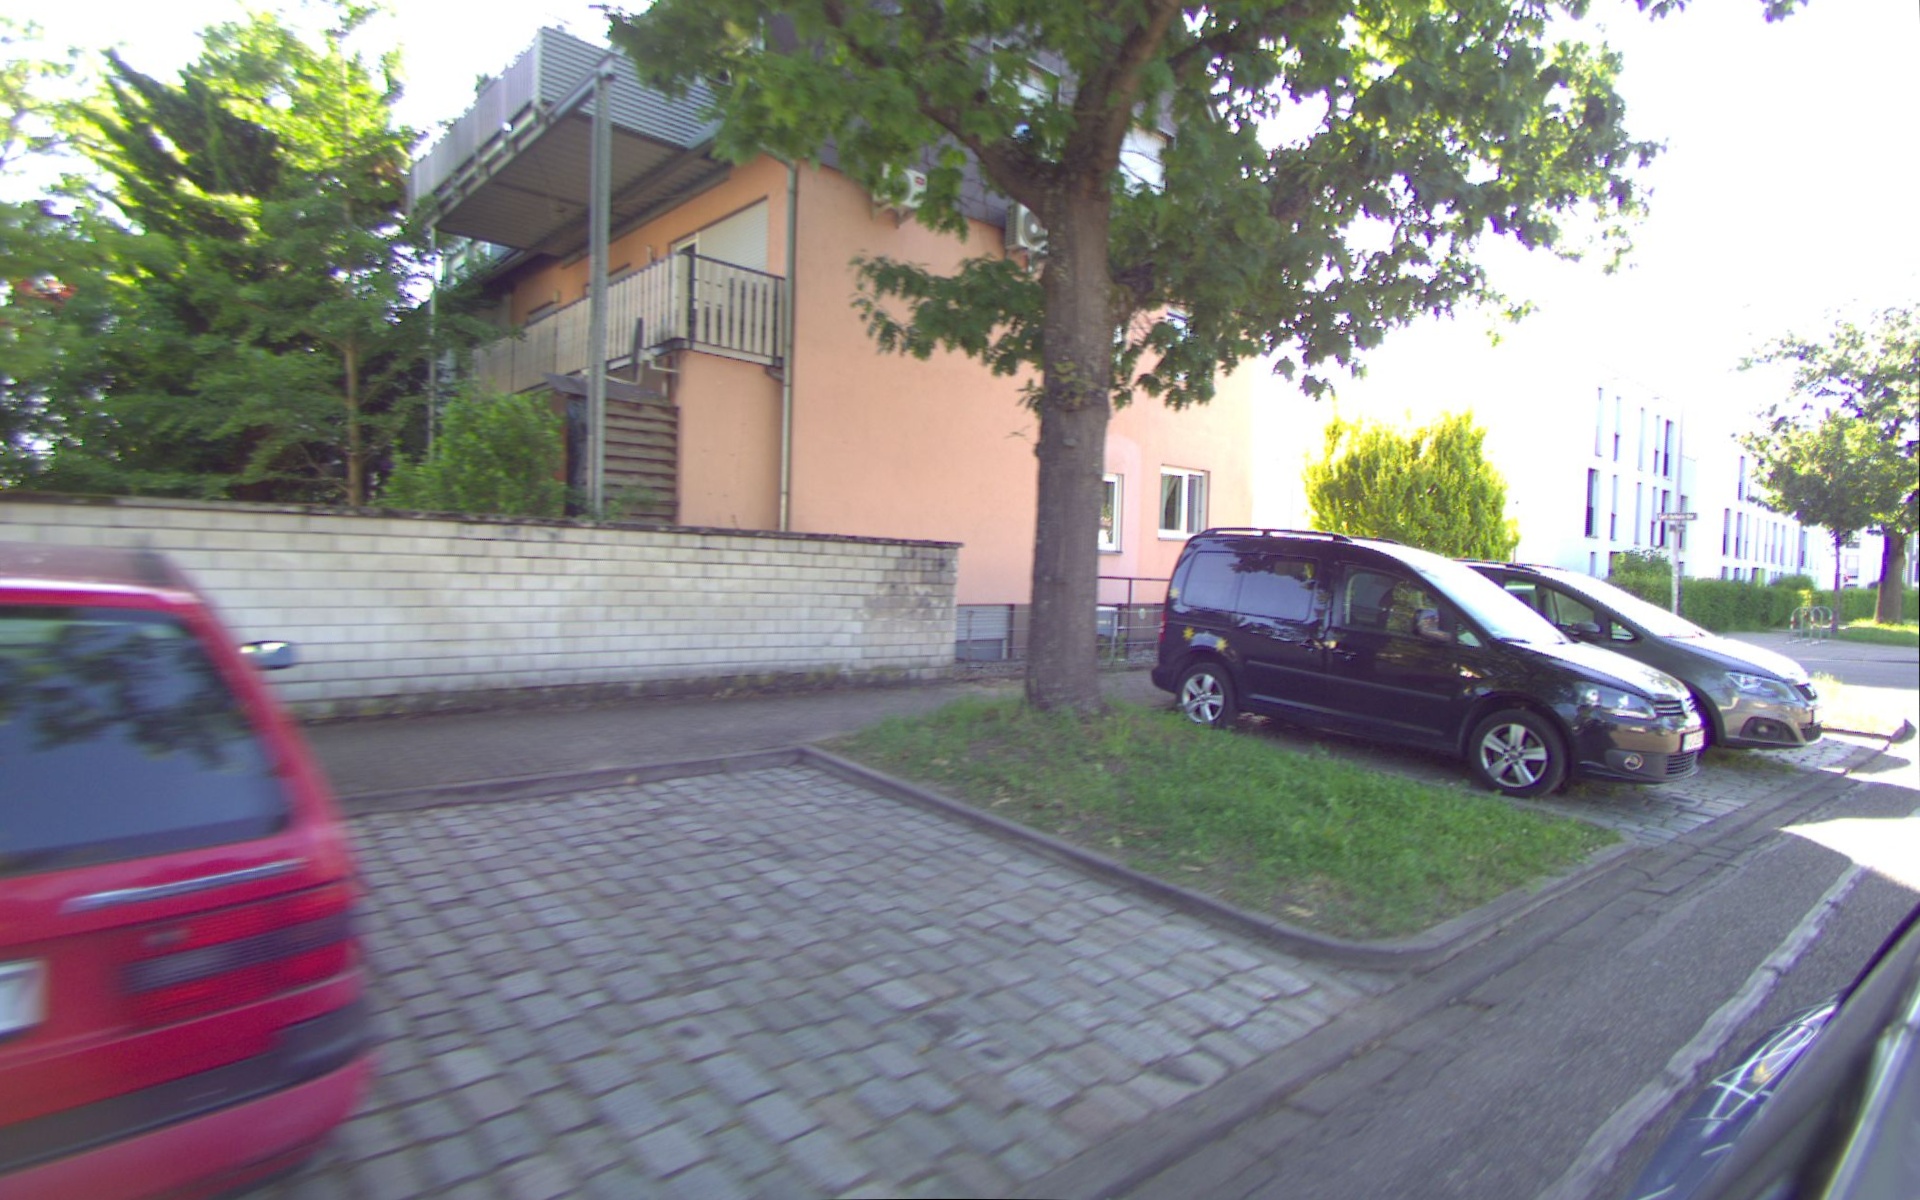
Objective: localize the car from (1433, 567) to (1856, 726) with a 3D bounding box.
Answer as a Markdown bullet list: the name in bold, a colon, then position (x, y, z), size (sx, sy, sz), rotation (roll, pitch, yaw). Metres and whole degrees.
- **car**: position (8.236, 0.430, 12.475), size (1.654, 1.377, 3.955), rotation (0, 5, -41)

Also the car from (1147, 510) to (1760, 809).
- **car**: position (3.848, 0.239, 8.561), size (1.758, 1.802, 4.223), rotation (0, 5, -41)

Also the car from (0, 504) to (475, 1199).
- **car**: position (-3.072, 0.451, 3.066), size (1.805, 1.463, 4.514), rotation (0, 4, -40)

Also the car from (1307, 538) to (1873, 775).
- **car**: position (6.158, 0.345, 10.402), size (1.847, 1.699, 4.514), rotation (-1, 6, -41)
